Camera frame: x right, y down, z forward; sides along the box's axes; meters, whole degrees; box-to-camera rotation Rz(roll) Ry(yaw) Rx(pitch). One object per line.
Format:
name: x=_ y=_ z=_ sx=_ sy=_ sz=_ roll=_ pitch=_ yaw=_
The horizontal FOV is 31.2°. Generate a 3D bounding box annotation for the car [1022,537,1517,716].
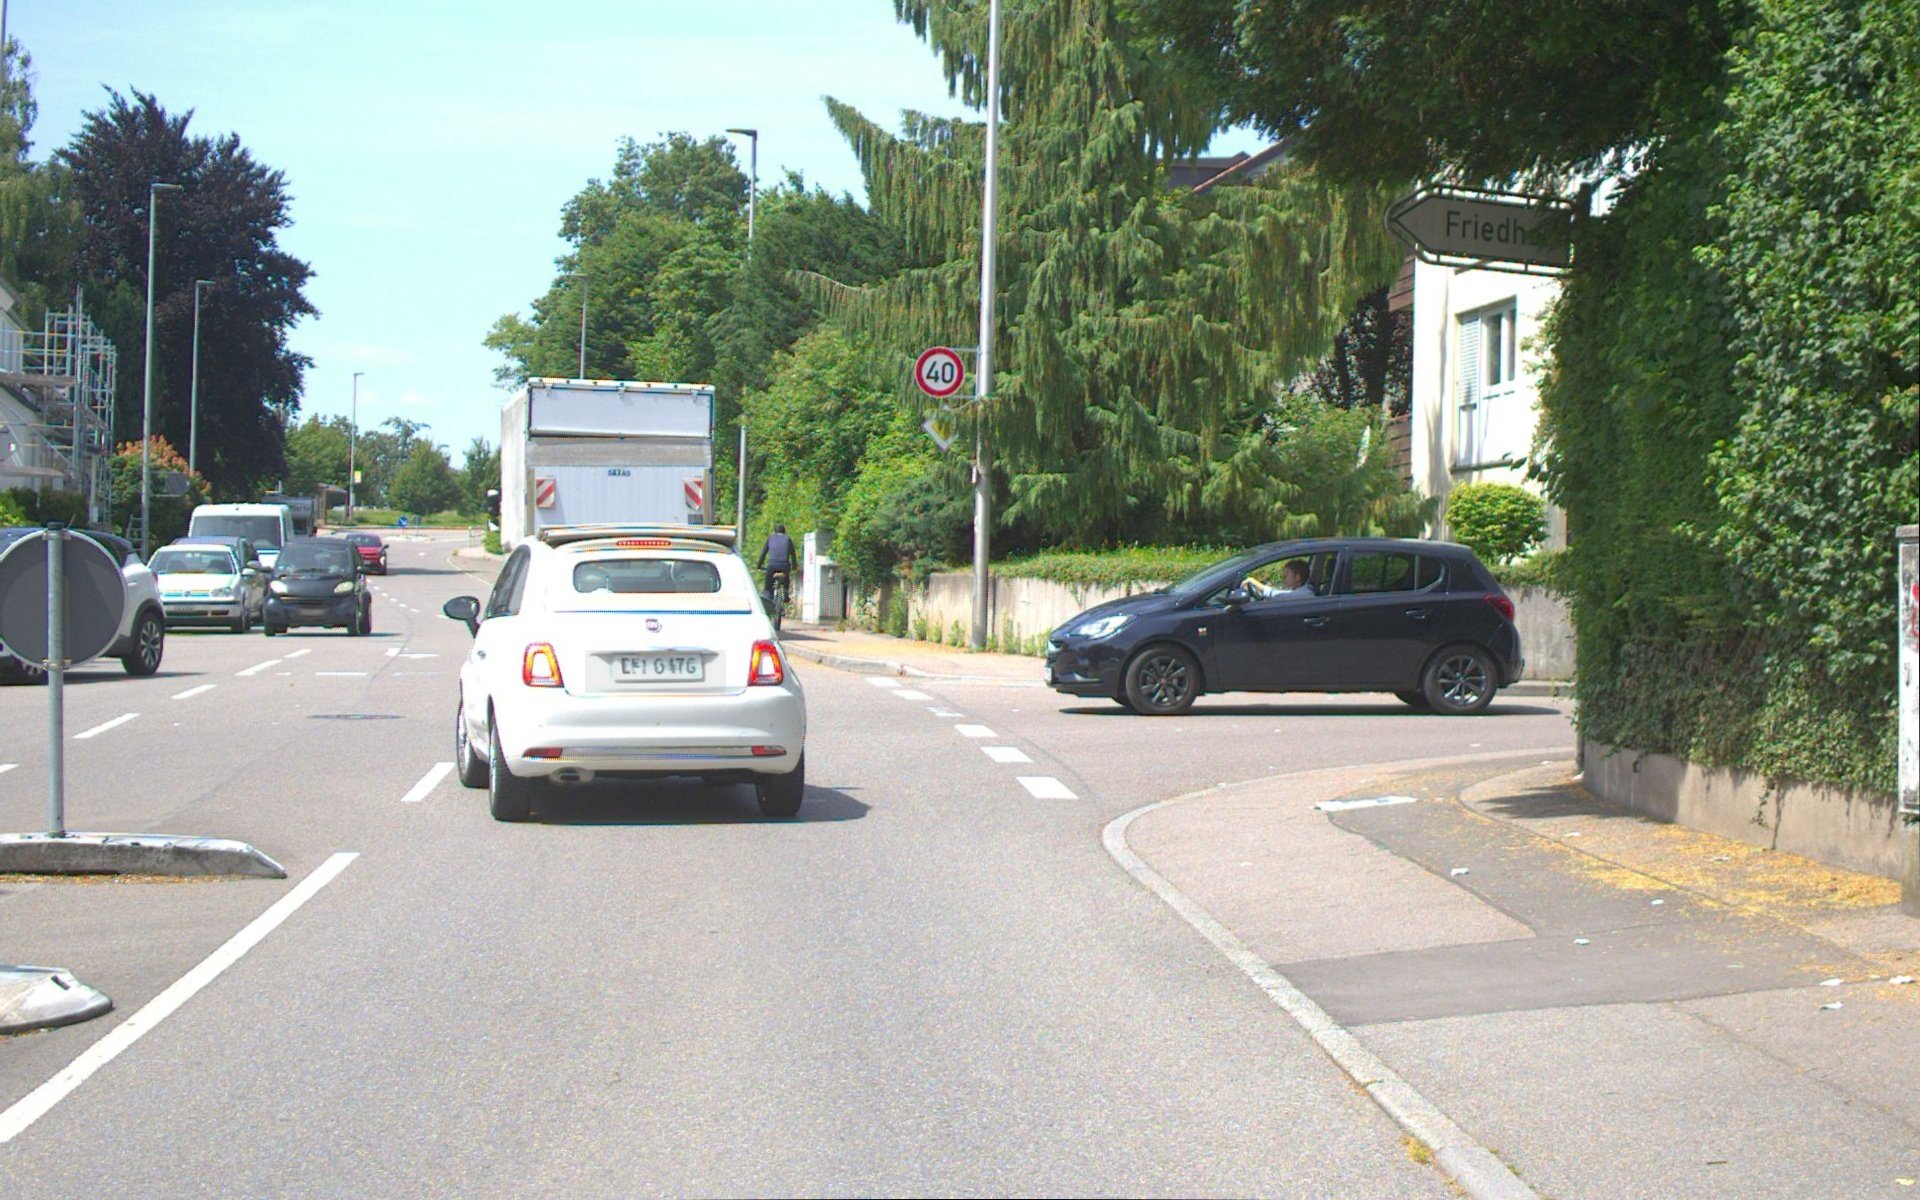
car: x=2.569 y=0.208 z=29.082 sx=3.933 sy=1.453 sz=1.659 roll=0 pitch=1 yaw=-4

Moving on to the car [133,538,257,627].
car: x=-12.503 y=-0.315 z=56.358 sx=1.804 sy=1.393 sz=4.001 roll=1 pitch=1 yaw=-10

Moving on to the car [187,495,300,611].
car: x=-14.229 y=-0.938 z=68.504 sx=2.036 sy=2.192 sz=5.584 roll=1 pitch=1 yaw=-10

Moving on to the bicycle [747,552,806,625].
bicycle: x=-2.929 y=-0.195 z=54.580 sx=0.668 sy=1.100 sz=2.426 roll=2 pitch=1 yaw=-9

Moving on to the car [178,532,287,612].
car: x=-13.186 y=-0.526 z=62.456 sx=1.804 sy=1.393 sz=3.969 roll=1 pitch=1 yaw=-10

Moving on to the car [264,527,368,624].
car: x=-10.233 y=-0.401 z=54.735 sx=1.480 sy=1.505 sz=2.801 roll=0 pitch=1 yaw=-8

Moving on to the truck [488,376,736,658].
truck: x=-5.210 y=-1.160 z=50.188 sx=3.067 sy=3.761 sz=7.870 roll=0 pitch=1 yaw=-10

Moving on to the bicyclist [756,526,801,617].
bicyclist: x=-2.861 y=-0.448 z=54.182 sx=0.588 sy=1.408 sz=0.742 roll=2 pitch=1 yaw=-8

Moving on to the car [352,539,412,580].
car: x=-22.363 y=-1.567 z=133.179 sx=1.833 sy=1.529 sz=4.001 roll=2 pitch=0 yaw=-4

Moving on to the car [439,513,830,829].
car: x=-1.914 y=0.309 z=19.152 sx=1.724 sy=1.555 sz=4.001 roll=-1 pitch=1 yaw=-12

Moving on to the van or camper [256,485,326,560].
van or camper: x=-27.682 y=-3.210 z=142.384 sx=2.264 sy=2.952 sz=5.890 roll=2 pitch=1 yaw=-6

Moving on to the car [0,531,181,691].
car: x=-9.675 y=0.076 z=34.822 sx=1.784 sy=1.524 sz=4.168 roll=4 pitch=0 yaw=12
